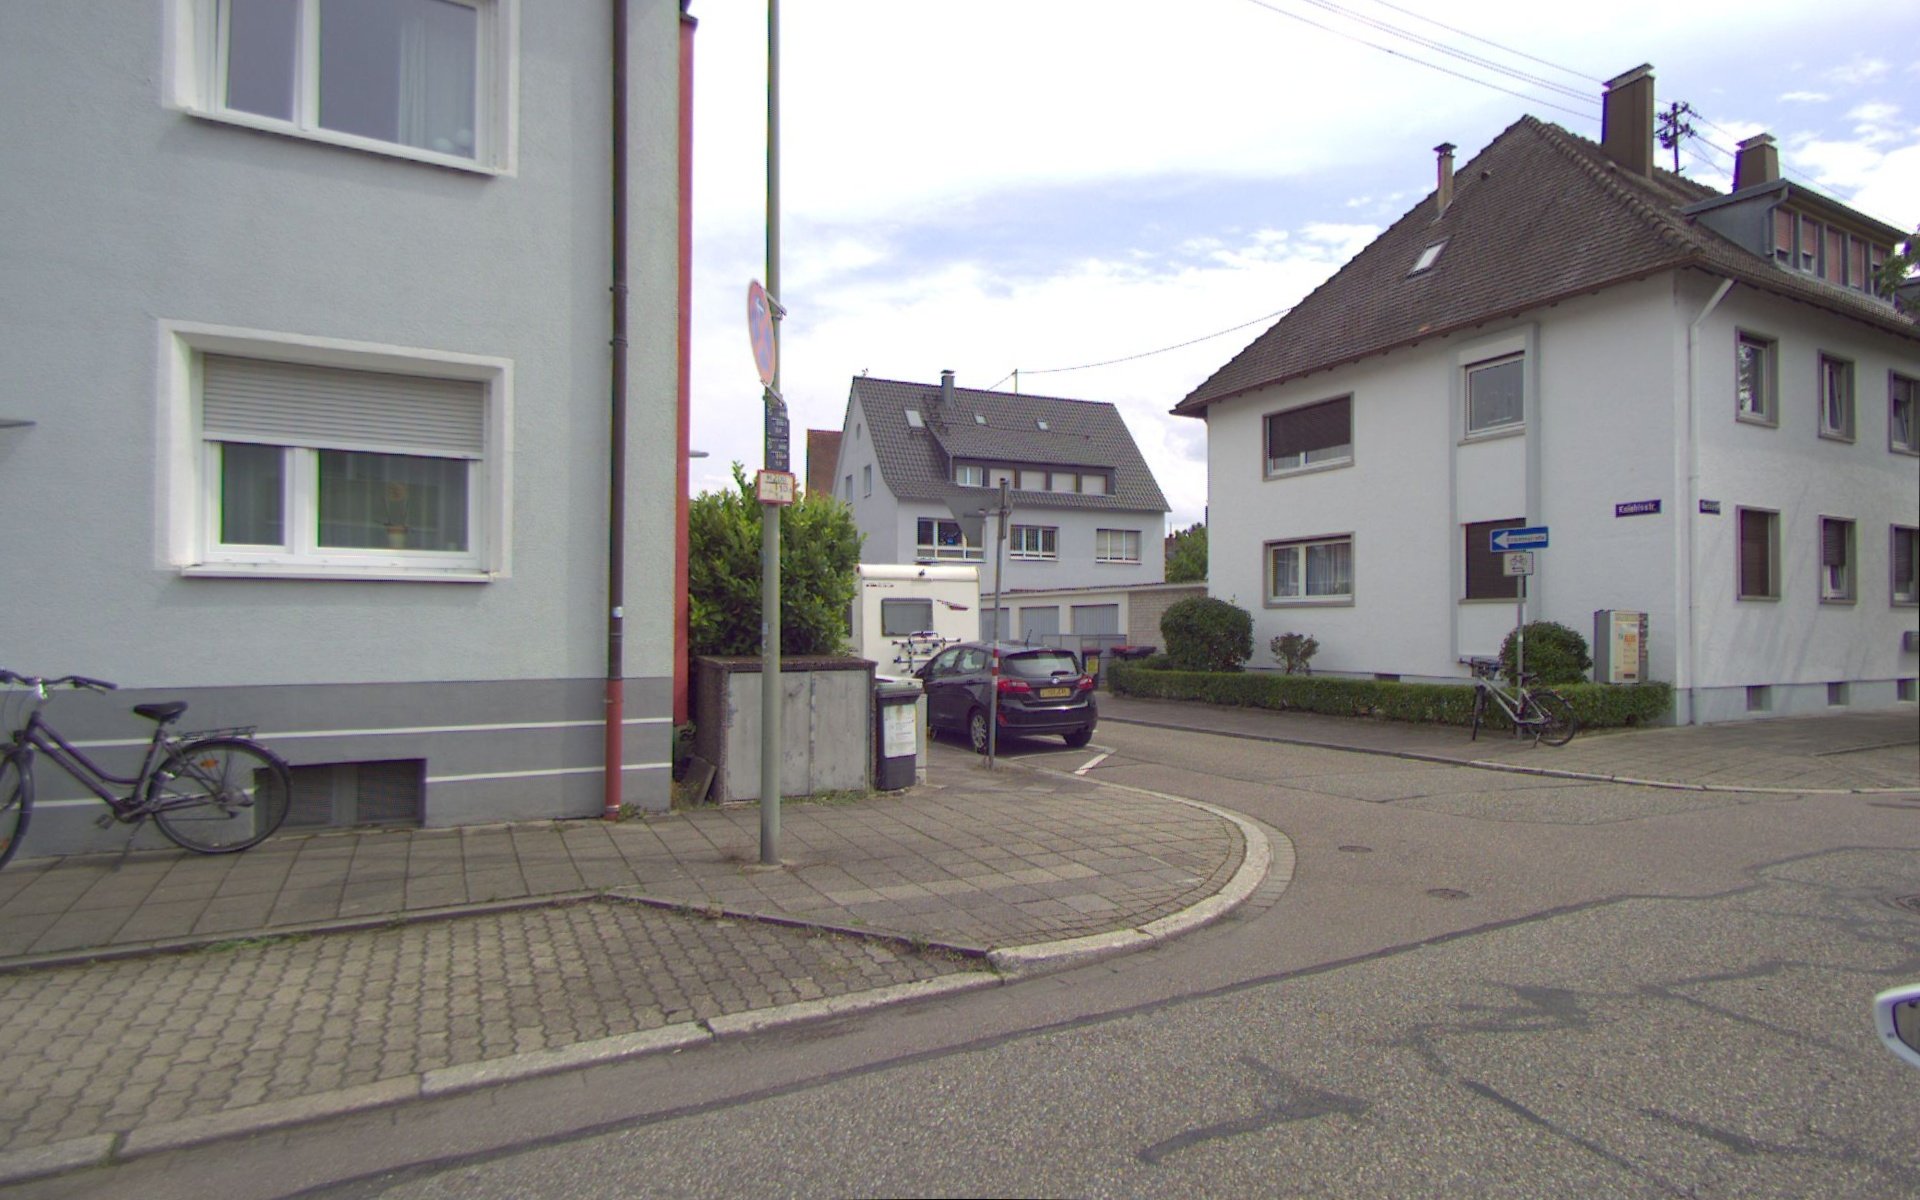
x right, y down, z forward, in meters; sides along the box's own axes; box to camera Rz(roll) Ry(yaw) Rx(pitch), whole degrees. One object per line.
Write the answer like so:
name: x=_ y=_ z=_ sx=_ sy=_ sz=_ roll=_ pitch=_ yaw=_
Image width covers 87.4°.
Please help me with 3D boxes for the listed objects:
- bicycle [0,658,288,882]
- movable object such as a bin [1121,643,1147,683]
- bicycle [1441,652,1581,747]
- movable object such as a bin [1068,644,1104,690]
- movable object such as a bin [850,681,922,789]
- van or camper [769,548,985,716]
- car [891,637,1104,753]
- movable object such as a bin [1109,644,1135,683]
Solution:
bicycle: x=-4.961 y=0.926 z=5.695 sx=1.850 sy=1.168 sz=0.488 roll=1 pitch=-3 yaw=-29
movable object such as a bin: x=4.392 y=1.595 z=25.370 sx=0.449 sy=0.986 sz=0.504 roll=1 pitch=-3 yaw=-26
bicycle: x=7.354 y=1.302 z=13.490 sx=0.430 sy=1.194 sz=1.625 roll=1 pitch=-4 yaw=-31
movable object such as a bin: x=3.179 y=1.691 z=25.374 sx=0.574 sy=1.152 sz=0.750 roll=1 pitch=-3 yaw=-27
movable object such as a bin: x=-0.667 y=1.196 z=9.051 sx=0.471 sy=0.918 sz=0.483 roll=1 pitch=-3 yaw=-34
van or camper: x=-1.895 y=0.712 z=19.826 sx=2.379 sy=2.760 sz=6.128 roll=1 pitch=-3 yaw=-24
car: x=0.401 y=1.300 z=14.603 sx=1.641 sy=1.441 sz=3.748 roll=1 pitch=-3 yaw=-23
movable object such as a bin: x=4.167 y=1.630 z=25.882 sx=0.449 sy=0.986 sz=0.504 roll=1 pitch=-3 yaw=-26
